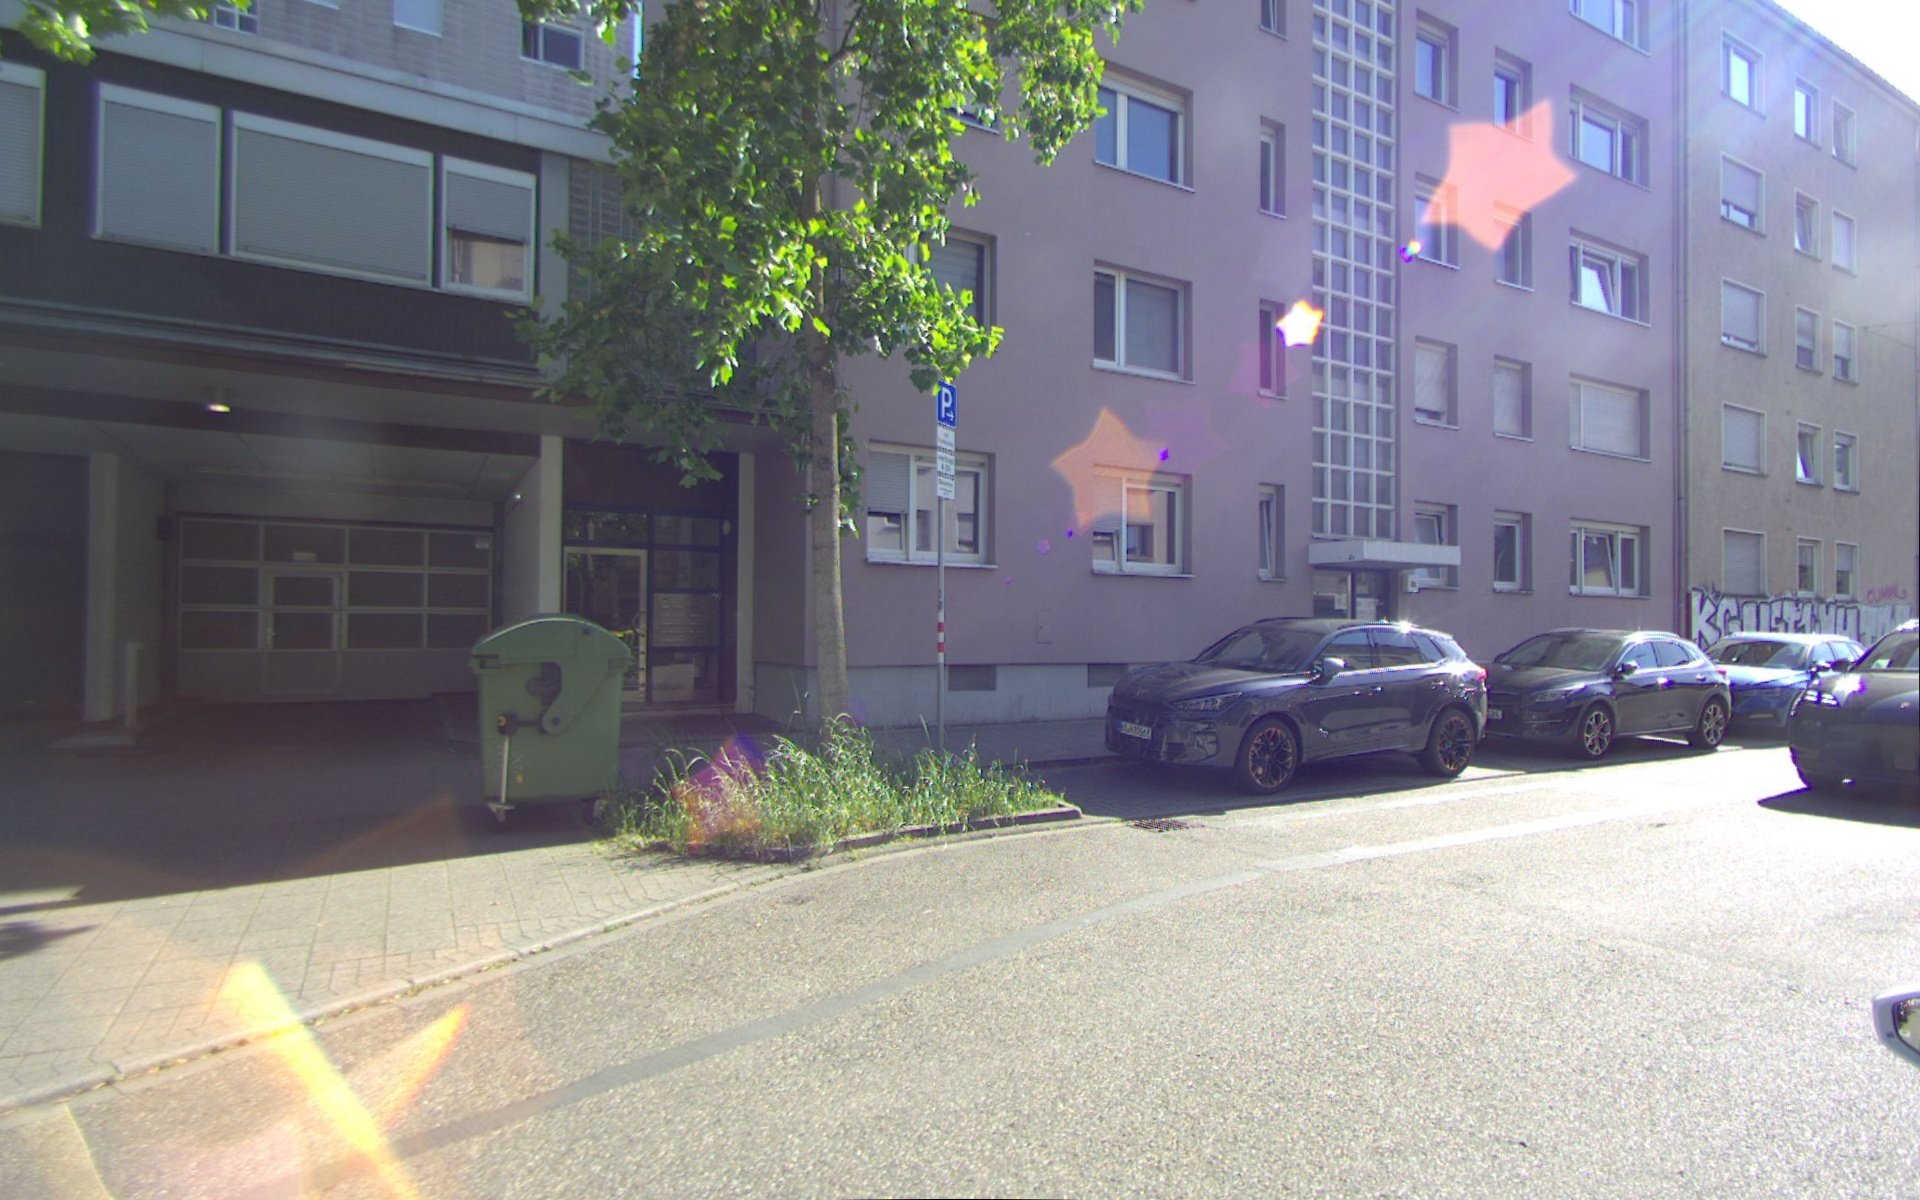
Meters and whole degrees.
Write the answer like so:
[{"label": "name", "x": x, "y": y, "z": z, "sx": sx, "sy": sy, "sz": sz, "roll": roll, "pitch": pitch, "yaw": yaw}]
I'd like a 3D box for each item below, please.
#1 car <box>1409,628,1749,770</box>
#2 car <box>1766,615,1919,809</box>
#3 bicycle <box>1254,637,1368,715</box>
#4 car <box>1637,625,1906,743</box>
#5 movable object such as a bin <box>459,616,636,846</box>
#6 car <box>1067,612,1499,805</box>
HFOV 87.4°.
[{"label": "car", "x": 8.224, "y": 1.192, "z": 13.325, "sx": 4.175, "sy": 1.517, "sz": 1.985, "roll": 1, "pitch": 1, "yaw": -28}, {"label": "car", "x": 9.925, "y": 0.995, "z": 9.746, "sx": 4.376, "sy": 1.635, "sz": 1.858, "roll": 1, "pitch": -2, "yaw": -30}, {"label": "bicycle", "x": 5.348, "y": 1.125, "z": 15.275, "sx": 1.880, "sy": 1.116, "sz": 0.552, "roll": 1, "pitch": -2, "yaw": -30}, {"label": "car", "x": 12.713, "y": 1.216, "z": 15.680, "sx": 4.571, "sy": 1.517, "sz": 1.712, "roll": 1, "pitch": 1, "yaw": -30}, {"label": "movable object such as a bin", "x": -2.933, "y": 0.864, "z": 7.212, "sx": 1.060, "sy": 1.469, "sz": 1.228, "roll": 1, "pitch": -1, "yaw": -22}, {"label": "car", "x": 3.429, "y": 0.988, "z": 10.521, "sx": 4.312, "sy": 1.627, "sz": 1.868, "roll": 1, "pitch": 0, "yaw": -29}]
